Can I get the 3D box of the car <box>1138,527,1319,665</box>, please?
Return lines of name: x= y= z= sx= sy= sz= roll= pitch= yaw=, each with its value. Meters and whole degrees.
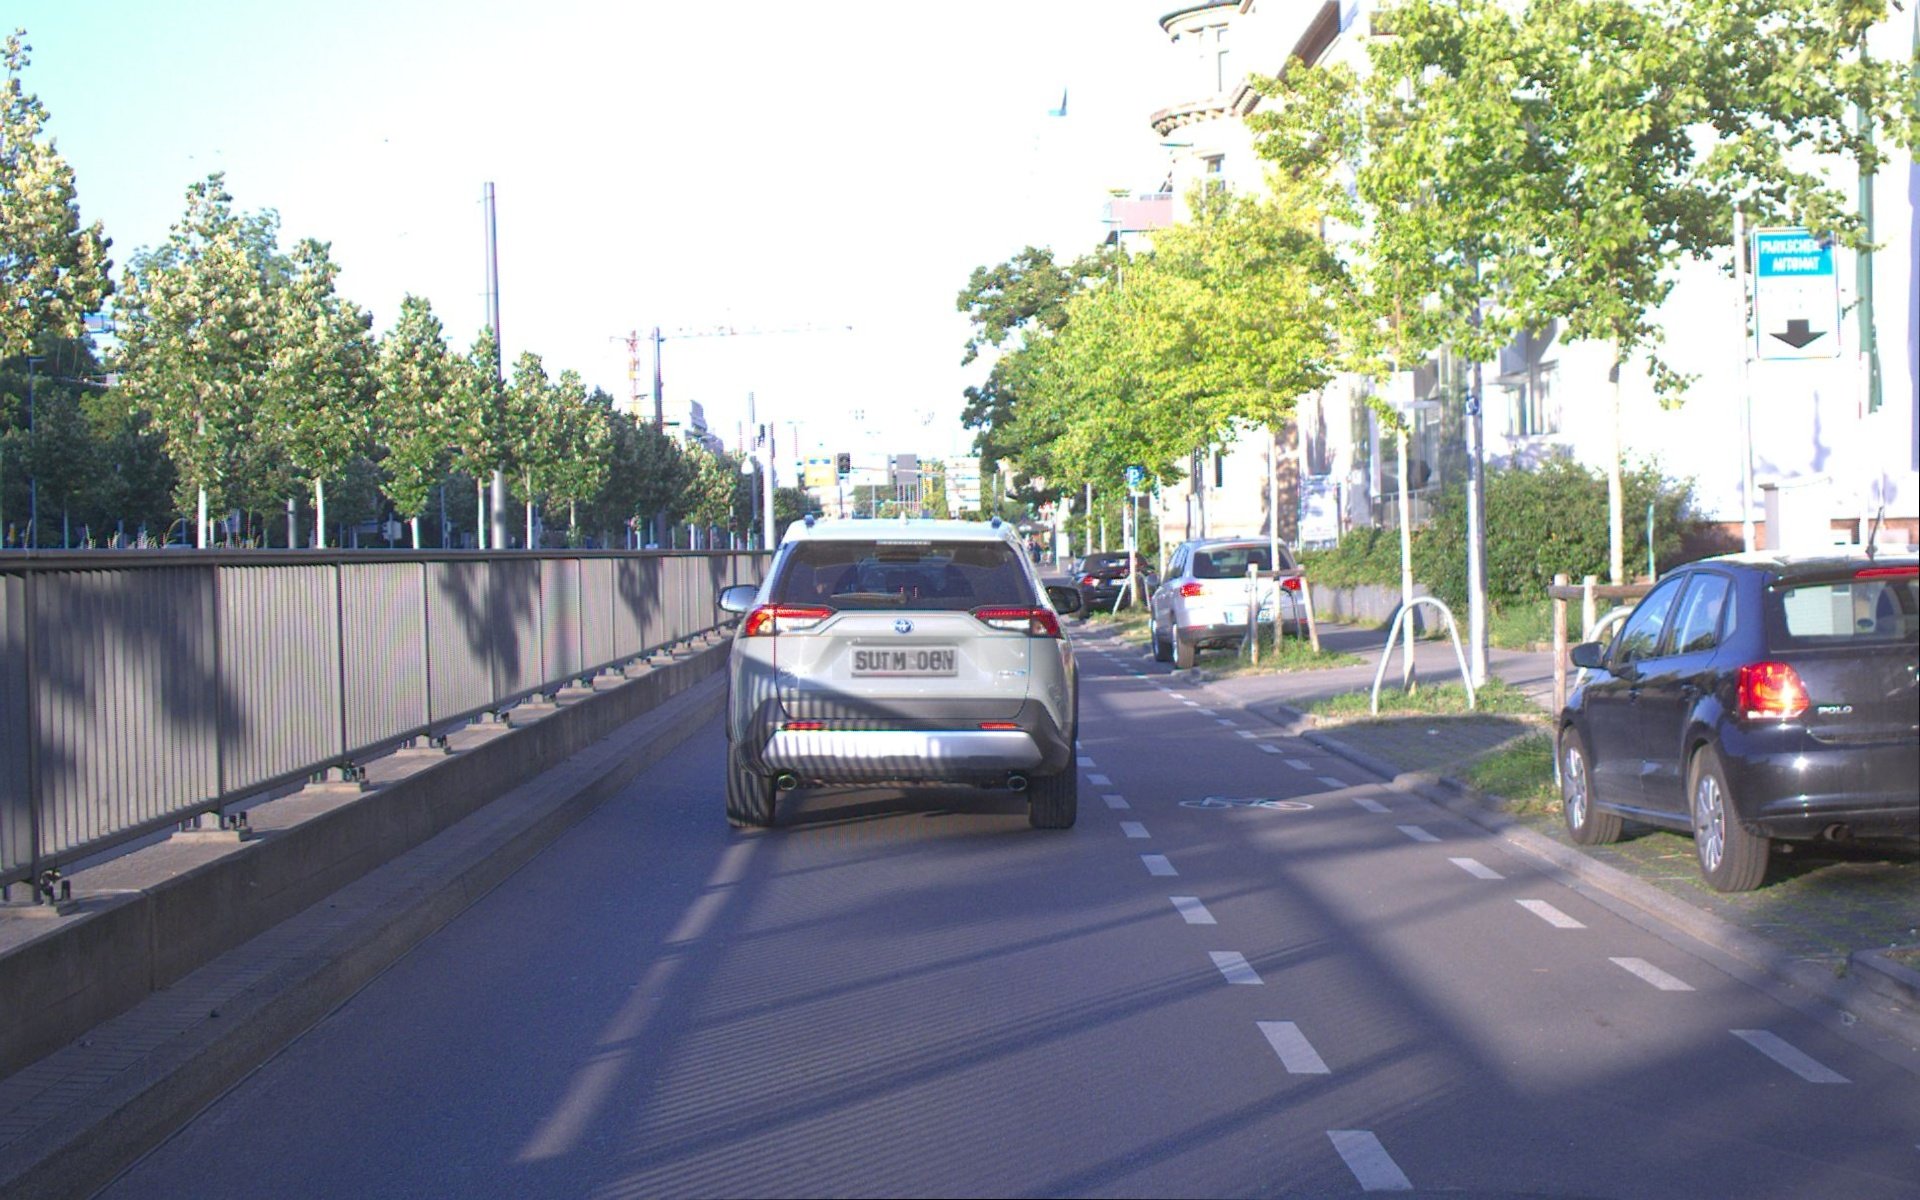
car: x=3.483 y=-0.085 z=45.279 sx=1.854 sy=1.701 sz=4.254 roll=-1 pitch=1 yaw=-2

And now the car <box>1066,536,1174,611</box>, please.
car: x=3.438 y=-0.588 z=74.642 sx=1.792 sy=1.466 sz=4.446 roll=-4 pitch=1 yaw=-3

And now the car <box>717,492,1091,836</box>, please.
car: x=-0.364 y=0.304 z=19.387 sx=1.857 sy=1.708 sz=4.193 roll=1 pitch=1 yaw=-2

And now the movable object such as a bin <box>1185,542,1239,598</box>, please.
movable object such as a bin: x=6.629 y=-0.795 z=90.550 sx=1.260 sy=1.457 sz=1.124 roll=-1 pitch=1 yaw=-3

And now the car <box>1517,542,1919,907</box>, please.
car: x=3.952 y=0.475 z=16.119 sx=1.819 sy=1.449 sz=4.129 roll=-2 pitch=1 yaw=-2
